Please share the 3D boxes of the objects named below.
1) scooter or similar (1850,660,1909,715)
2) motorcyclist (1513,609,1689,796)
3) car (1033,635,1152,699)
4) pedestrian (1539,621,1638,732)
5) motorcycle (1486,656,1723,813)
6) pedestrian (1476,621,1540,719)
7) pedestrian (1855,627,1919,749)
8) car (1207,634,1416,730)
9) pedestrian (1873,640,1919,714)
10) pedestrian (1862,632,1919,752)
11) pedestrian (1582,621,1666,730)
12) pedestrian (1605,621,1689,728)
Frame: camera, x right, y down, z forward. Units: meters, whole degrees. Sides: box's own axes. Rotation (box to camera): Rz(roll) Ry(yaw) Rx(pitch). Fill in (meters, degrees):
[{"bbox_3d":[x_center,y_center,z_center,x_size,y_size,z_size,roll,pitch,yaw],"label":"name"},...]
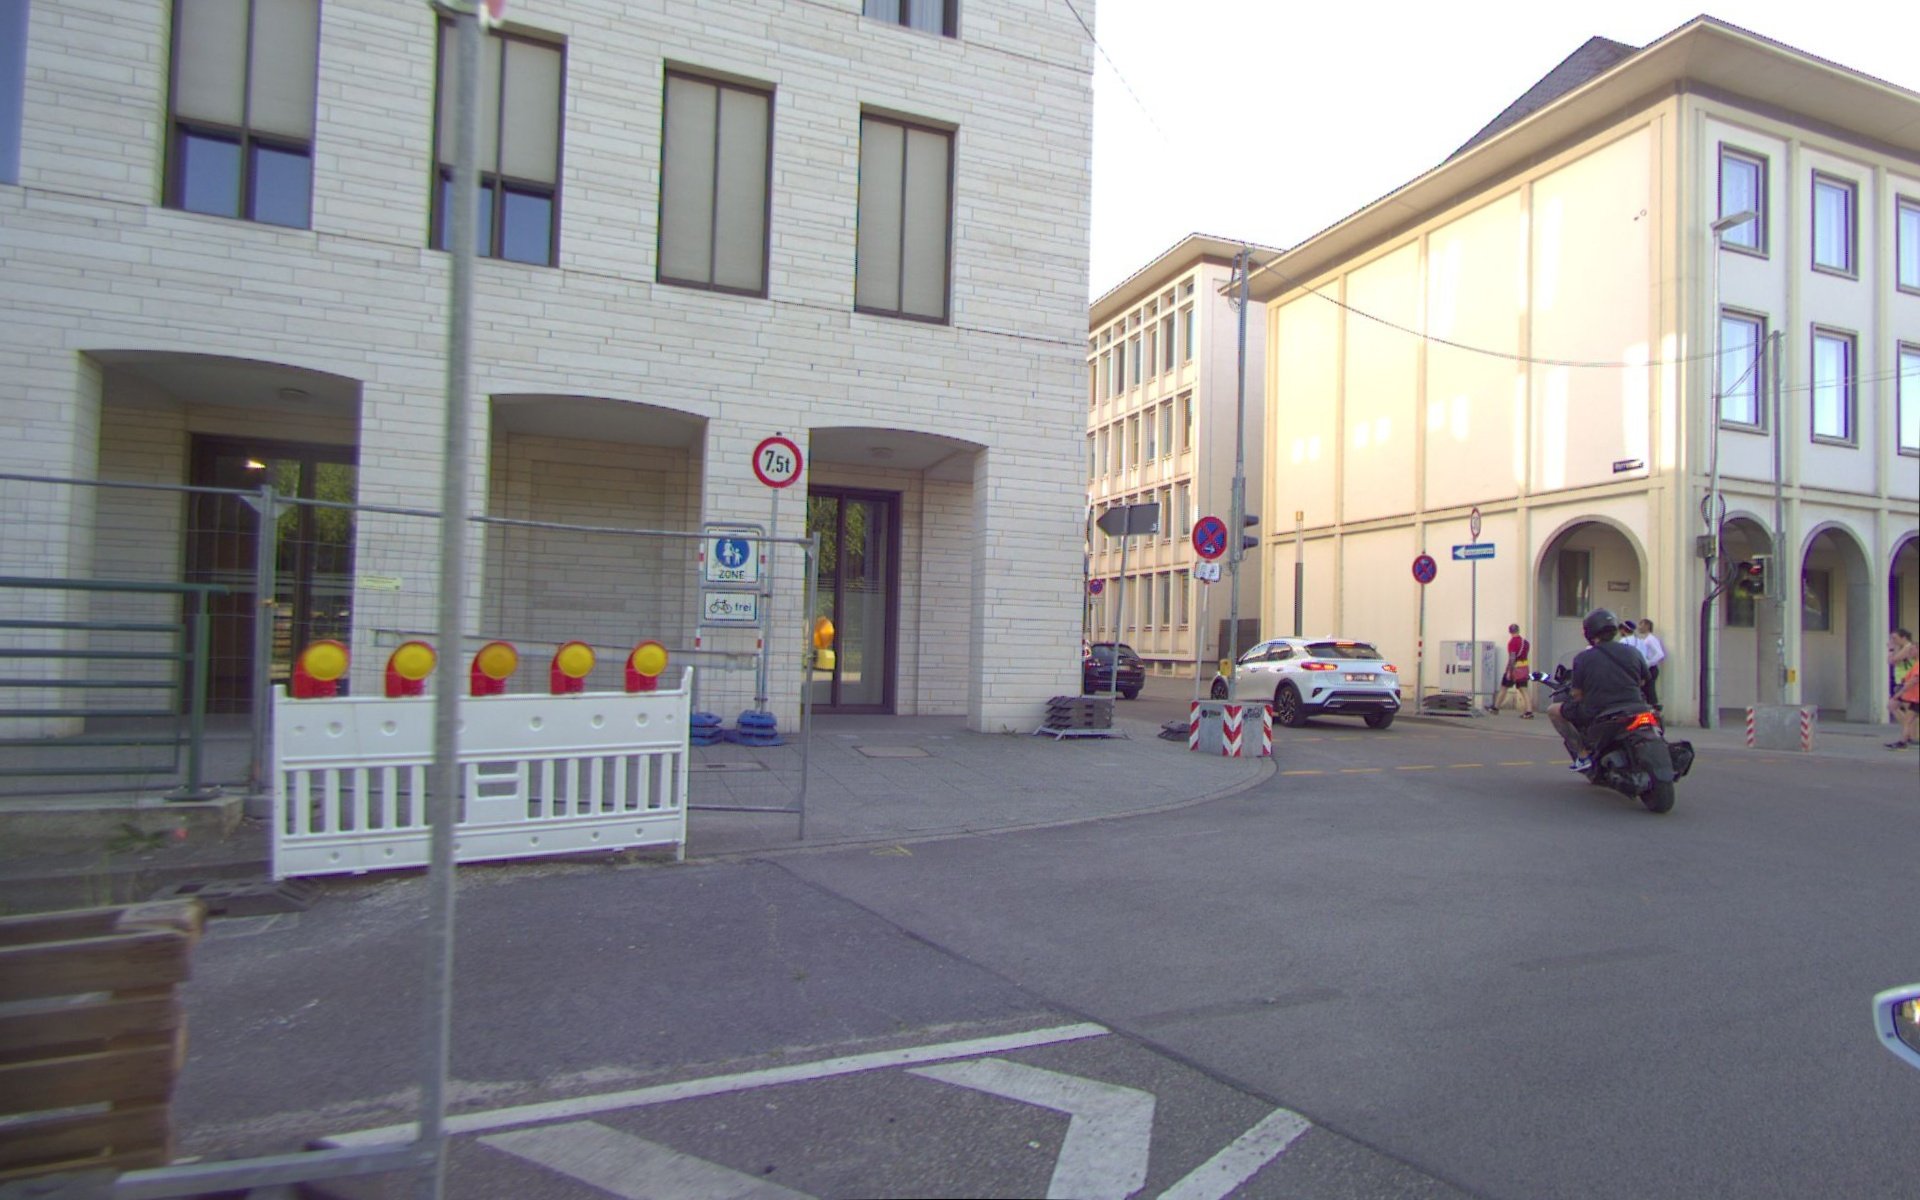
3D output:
[{"bbox_3d":[20.946,1.986,22.876,0.944,1.173,0.617,-1,-1,-21],"label":"scooter or similar"},{"bbox_3d":[5.818,0.893,9.215,0.937,1.580,1.240,0,-2,9],"label":"motorcyclist"},{"bbox_3d":[3.425,1.718,26.691,1.750,1.570,4.096,1,-2,-14],"label":"car"},{"bbox_3d":[10.868,1.291,17.413,0.705,1.825,1.242,-1,-1,-20],"label":"pedestrian"},{"bbox_3d":[5.836,1.148,9.342,0.890,1.199,2.581,0,-2,9],"label":"motorcycle"},{"bbox_3d":[10.580,1.328,19.401,0.700,1.825,0.772,-1,-1,-20],"label":"pedestrian"},{"bbox_3d":[14.035,1.277,14.866,0.665,1.732,0.964,-1,-1,-20],"label":"pedestrian"},{"bbox_3d":[6.005,1.362,17.705,1.831,1.491,3.995,0,-3,-8],"label":"car"},{"bbox_3d":[21.707,1.763,23.219,0.716,1.646,0.617,-1,-1,-21],"label":"pedestrian"},{"bbox_3d":[13.590,1.300,14.427,0.610,1.646,0.724,-1,-1,-20],"label":"pedestrian"},{"bbox_3d":[11.481,1.283,17.386,0.700,1.801,0.937,-1,-1,-20],"label":"pedestrian"},{"bbox_3d":[12.047,1.287,17.635,0.700,1.801,0.937,-1,-1,-20],"label":"pedestrian"}]
